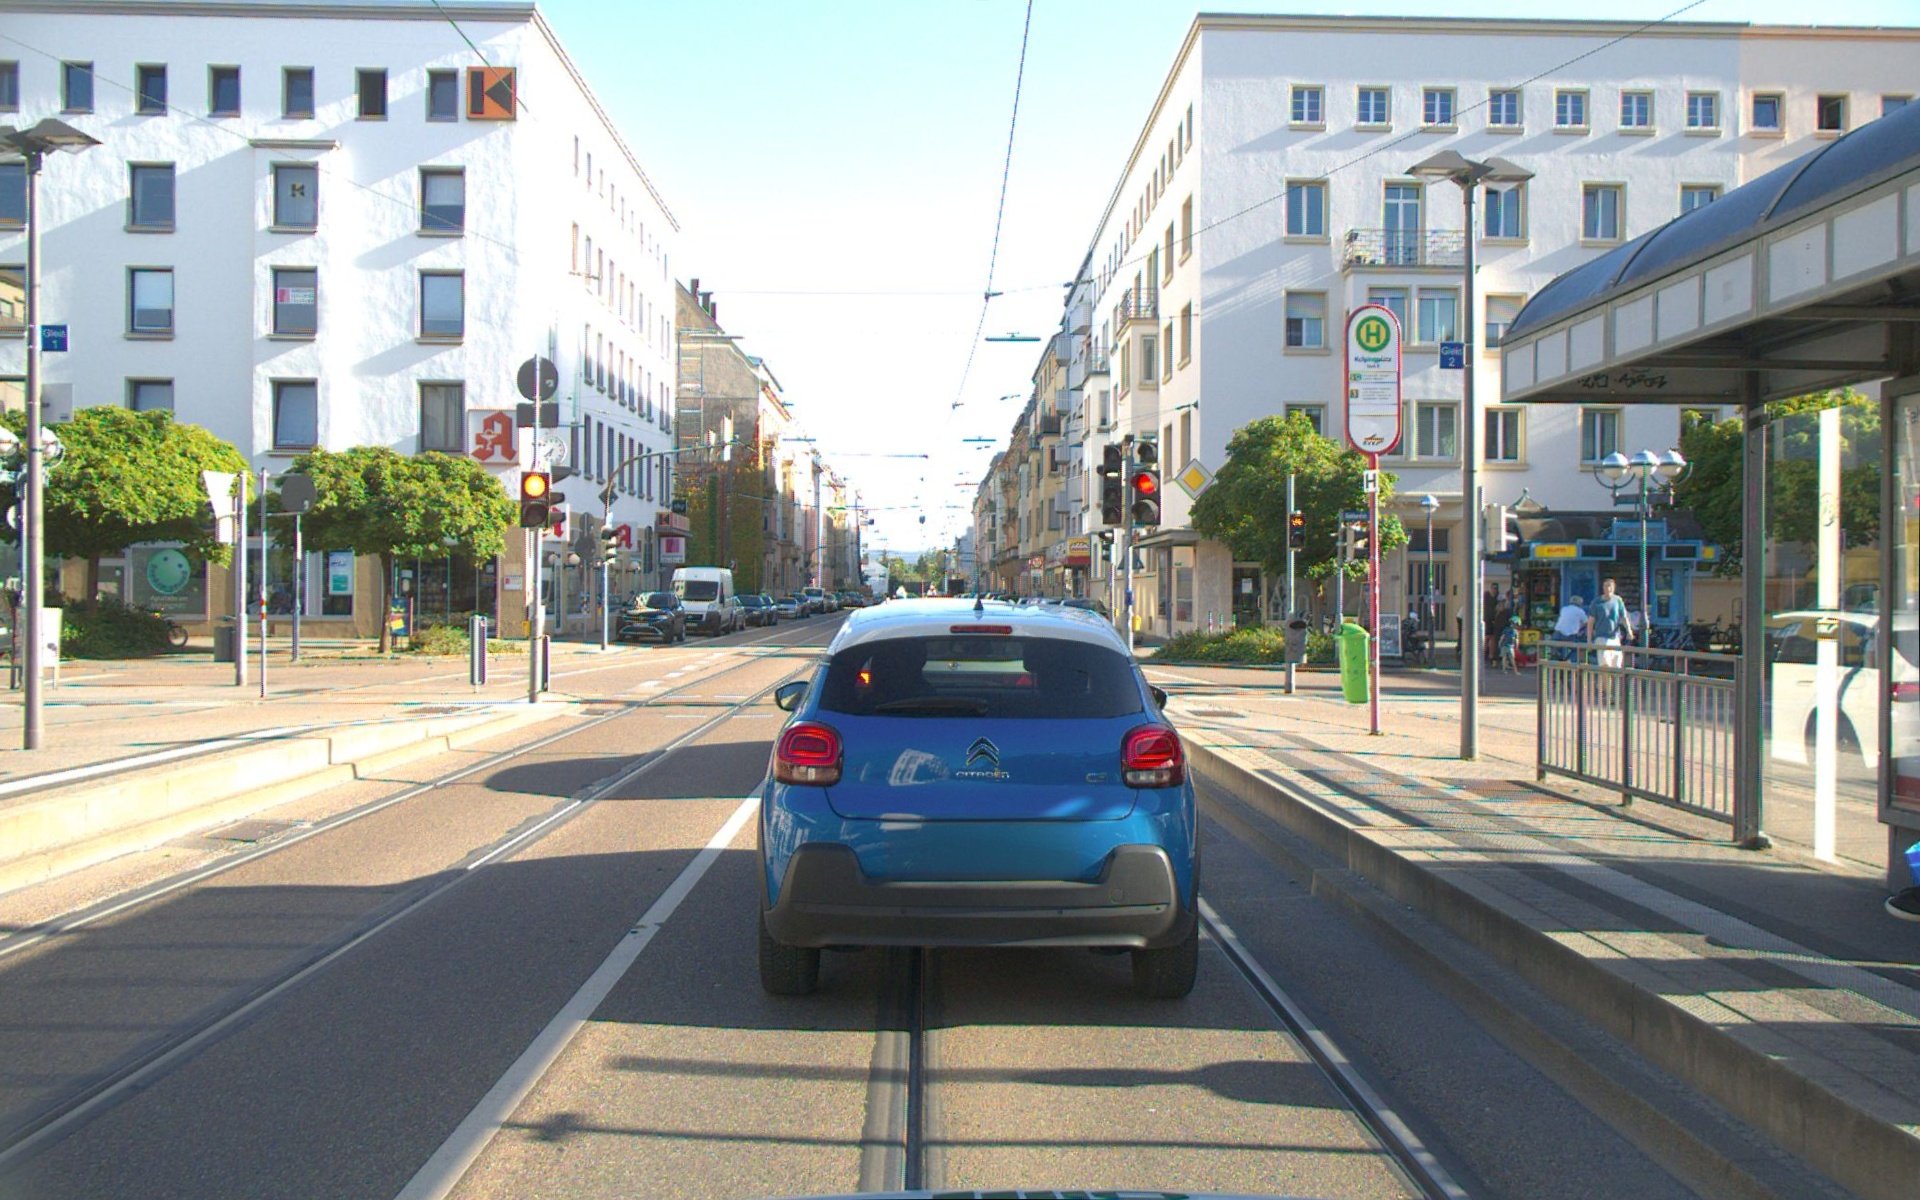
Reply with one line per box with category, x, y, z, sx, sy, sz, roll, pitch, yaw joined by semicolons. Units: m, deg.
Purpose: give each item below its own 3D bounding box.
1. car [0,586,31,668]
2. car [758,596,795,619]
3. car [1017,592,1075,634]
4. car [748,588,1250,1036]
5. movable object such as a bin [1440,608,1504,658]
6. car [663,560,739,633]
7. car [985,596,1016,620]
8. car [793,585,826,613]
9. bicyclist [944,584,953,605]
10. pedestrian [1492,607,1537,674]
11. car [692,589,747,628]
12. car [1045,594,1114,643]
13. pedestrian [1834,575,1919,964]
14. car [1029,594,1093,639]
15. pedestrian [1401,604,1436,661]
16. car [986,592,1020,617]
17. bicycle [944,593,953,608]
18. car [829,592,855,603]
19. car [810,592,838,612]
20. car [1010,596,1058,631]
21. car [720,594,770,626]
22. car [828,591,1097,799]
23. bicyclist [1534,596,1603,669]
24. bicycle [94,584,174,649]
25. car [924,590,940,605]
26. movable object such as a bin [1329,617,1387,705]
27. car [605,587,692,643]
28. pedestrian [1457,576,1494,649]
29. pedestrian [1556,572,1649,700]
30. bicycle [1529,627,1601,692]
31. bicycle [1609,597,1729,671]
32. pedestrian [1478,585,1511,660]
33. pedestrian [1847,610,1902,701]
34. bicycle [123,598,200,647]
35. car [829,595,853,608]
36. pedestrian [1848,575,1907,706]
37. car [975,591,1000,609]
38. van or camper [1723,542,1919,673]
car;-22.389;0.571;35.431;3.906;1.736;1.825;0;0;-2
car;-11.392;0.463;102.986;1.953;1.348;3.921;1;0;-2
car;3.230;0.477;62.732;1.953;1.527;4.000;0;0;0
car;0.104;0.723;7.578;1.693;1.508;3.826;1;0;-1
movable object such as a bin;12.507;0.794;40.431;1.174;1.173;1.217;0;0;0
car;-9.737;-0.118;62.625;2.043;2.586;6.203;1;0;-2
car;2.600;0.513;107.392;1.952;1.489;4.000;0;0;0
car;-11.490;-0.060;126.541;1.965;2.049;4.690;1;0;1
bicyclist;-1.119;-0.558;161.965;0.793;2.049;0.922;1;-1;-1
pedestrian;12.402;0.904;36.997;0.715;1.434;0.755;0;3;-1
car;-10.045;0.356;69.283;1.850;1.522;3.560;1;0;-2
car;3.749;0.567;52.481;1.870;1.489;4.000;0;0;0
pedestrian;3.589;0.568;5.351;0.978;1.246;0.923;3;-1;-1
car;3.449;0.538;57.279;1.953;1.489;4.000;0;0;0
pedestrian;10.863;0.768;39.176;0.725;1.339;0.628;0;0;22
car;2.621;0.260;102.063;1.953;1.489;4.504;0;0;0
bicycle;-1.156;0.031;162.359;0.901;1.413;3.131;0;0;-1
car;-13.187;-0.251;184.631;1.951;1.176;4.518;0;0;8
car;-11.198;0.208;136.460;1.914;1.579;3.939;1;0;1
car;3.237;0.589;72.981;1.953;1.489;4.000;0;0;0
car;-10.104;0.476;77.984;1.953;1.422;4.155;1;0;-2
car;-0.019;0.691;14.552;1.944;1.490;4.814;1;0;-1
bicyclist;10.770;0.566;29.275;0.934;1.247;0.931;2;0;33
bicycle;-21.336;0.403;42.792;0.605;1.635;2.621;0;0;3
car;-3.445;-0.344;202.682;1.953;1.803;3.999;0;0;-1
movable object such as a bin;3.734;0.566;15.533;0.439;0.800;0.489;0;0;2
car;-9.791;0.467;52.261;1.953;1.596;4.401;3;0;-2
pedestrian;13.282;0.317;42.631;0.768;1.871;0.678;0;0;2
pedestrian;9.851;0.552;25.400;0.961;1.910;1.128;0;-1;-3
bicycle;10.715;1.026;29.234;0.705;1.080;2.317;2;0;32
bicycle;15.889;0.765;37.091;2.336;1.558;0.726;2;0;-2
pedestrian;13.541;0.563;41.892;0.639;1.871;0.659;0;0;2
pedestrian;12.254;0.741;22.161;0.459;1.189;0.558;1;-1;8
bicycle;-20.627;0.563;42.778;0.605;1.211;2.621;0;0;2
car;-11.097;0.155;153.947;1.953;1.176;4.000;0;0;0
pedestrian;12.695;0.556;22.892;0.546;1.775;0.527;1;-1;10
car;2.183;-0.010;133.185;1.953;1.489;4.000;0;0;0
van or camper;20.979;0.135;36.722;6.976;2.795;2.371;0;1;0
